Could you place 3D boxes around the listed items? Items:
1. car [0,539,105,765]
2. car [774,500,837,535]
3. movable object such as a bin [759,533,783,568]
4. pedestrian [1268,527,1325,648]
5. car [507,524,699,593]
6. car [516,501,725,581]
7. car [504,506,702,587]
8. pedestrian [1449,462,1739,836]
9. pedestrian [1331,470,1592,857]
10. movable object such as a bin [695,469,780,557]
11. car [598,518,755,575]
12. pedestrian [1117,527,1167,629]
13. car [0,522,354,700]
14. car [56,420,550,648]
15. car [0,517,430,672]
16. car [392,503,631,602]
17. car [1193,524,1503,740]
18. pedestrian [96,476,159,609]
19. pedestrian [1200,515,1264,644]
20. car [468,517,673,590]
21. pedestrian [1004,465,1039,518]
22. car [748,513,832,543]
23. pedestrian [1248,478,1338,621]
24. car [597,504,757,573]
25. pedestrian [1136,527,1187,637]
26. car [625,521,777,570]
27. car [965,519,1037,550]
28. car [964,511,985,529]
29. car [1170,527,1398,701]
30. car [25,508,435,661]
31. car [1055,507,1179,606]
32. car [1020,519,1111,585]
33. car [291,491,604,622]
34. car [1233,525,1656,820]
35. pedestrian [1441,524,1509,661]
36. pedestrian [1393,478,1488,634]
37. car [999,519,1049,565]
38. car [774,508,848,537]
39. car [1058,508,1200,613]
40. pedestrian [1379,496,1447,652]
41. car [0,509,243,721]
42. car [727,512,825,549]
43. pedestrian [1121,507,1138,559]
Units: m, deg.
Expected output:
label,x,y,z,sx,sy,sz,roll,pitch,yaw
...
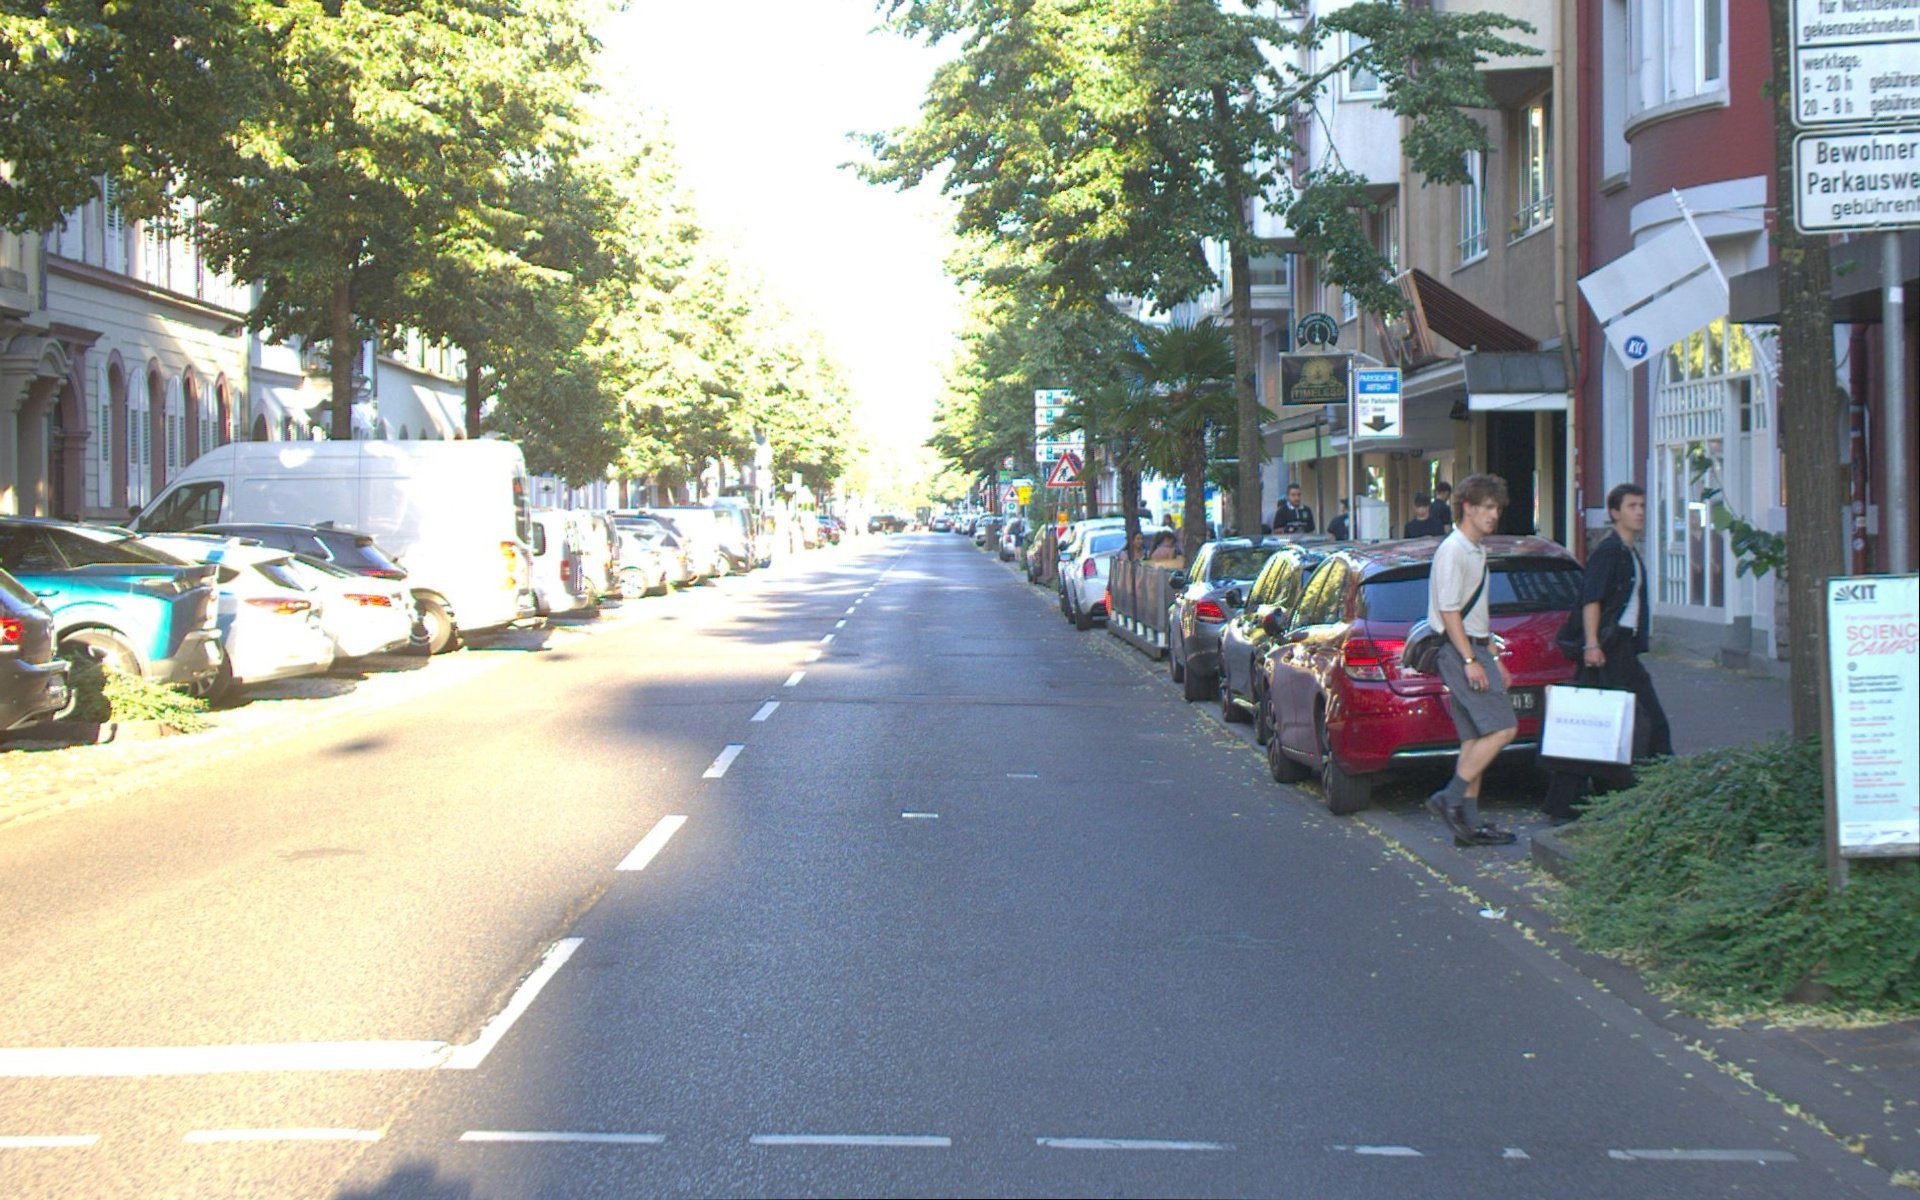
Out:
label,x,y,z,sx,sy,sz,roll,pitch,yaw
car,-7.981,0.275,23.371,3.914,1.443,1.697,2,1,-3
car,-11.170,-5.982,249.369,4.442,2.426,1.919,1,1,1
movable object such as a bin,-6.104,-1.612,111.251,0.690,1.101,0.883,-1,1,2
pedestrian,3.794,-0.149,38.765,0.547,1.340,0.438,-2,1,0
car,-7.810,-0.928,75.513,4.037,1.478,1.963,0,1,0
car,-8.195,-1.441,83.327,4.870,1.901,1.974,0,1,0
car,-8.339,-1.267,80.617,4.428,1.863,1.894,0,1,0
pedestrian,3.188,0.233,17.266,0.944,1.779,1.047,-2,2,42
pedestrian,2.416,0.303,16.572,0.869,1.779,0.730,-3,1,42
movable object such as a bin,-7.660,-2.998,118.749,2.625,2.959,5.304,0,1,-1
car,-7.968,-1.506,96.647,4.325,1.496,1.842,1,1,-5
pedestrian,2.412,-0.296,45.610,0.577,1.314,0.704,-2,1,0
car,-7.757,0.067,31.126,4.185,1.477,1.970,1,1,-1
car,-8.064,-0.826,42.592,5.658,2.612,2.171,1,1,0
car,-7.890,-0.079,36.552,4.213,1.501,1.793,1,1,0
car,-8.256,-0.893,63.522,4.138,1.800,1.807,0,1,2
car,2.922,0.179,26.755,1.774,1.465,4.418,-2,1,-1
pedestrian,-11.383,-0.788,47.000,0.662,1.795,0.780,0,1,0
pedestrian,3.200,-0.253,40.481,0.631,1.480,0.795,-2,1,0
car,-7.939,-0.961,70.324,4.058,1.456,1.686,0,1,-3
pedestrian,2.148,-3.796,120.639,1.013,1.819,0.780,-3,1,-10
car,-9.275,-3.915,187.952,4.442,1.562,1.919,1,1,1
pedestrian,4.458,-0.686,46.029,0.875,1.876,0.802,-3,3,-29
car,-8.272,-1.807,100.790,4.483,1.969,2.068,1,1,0
pedestrian,2.570,-0.237,43.915,0.577,1.380,0.603,-2,1,0
car,-8.221,-1.742,109.228,4.594,1.465,1.892,1,1,3
car,2.168,-3.486,182.247,1.674,1.583,3.814,2,2,43
car,1.119,-6.073,261.642,1.513,1.271,3.304,1,1,1
car,3.003,0.073,32.763,1.774,1.435,5.000,-2,1,2
car,-8.255,-0.201,39.137,4.213,1.594,1.975,1,1,1
car,2.673,-0.783,59.582,1.879,1.568,4.692,-2,1,0
car,2.553,-1.197,84.215,1.828,1.483,4.850,-2,1,-2
car,-7.886,-0.689,53.169,4.500,1.947,1.919,0,1,2
car,2.761,0.333,20.619,1.722,1.487,4.753,-2,1,-1
pedestrian,5.677,-0.087,37.883,0.624,1.483,0.640,-1,1,0
pedestrian,5.916,-0.549,42.299,0.801,1.876,0.876,1,3,37
car,2.322,-2.138,125.559,1.687,1.569,4.013,-2,1,0
car,-9.144,-4.764,211.841,4.442,1.753,1.919,1,1,1
car,2.573,-0.642,53.357,1.842,1.475,5.190,-2,1,0
pedestrian,4.937,-0.289,37.460,0.624,1.671,0.640,-1,1,0
car,-8.180,0.077,28.270,4.230,1.645,1.894,1,1,-4
car,-8.885,-3.360,166.383,4.571,1.692,2.060,1,1,1
pedestrian,6.038,-2.391,122.760,0.460,1.869,0.501,-1,2,-15
